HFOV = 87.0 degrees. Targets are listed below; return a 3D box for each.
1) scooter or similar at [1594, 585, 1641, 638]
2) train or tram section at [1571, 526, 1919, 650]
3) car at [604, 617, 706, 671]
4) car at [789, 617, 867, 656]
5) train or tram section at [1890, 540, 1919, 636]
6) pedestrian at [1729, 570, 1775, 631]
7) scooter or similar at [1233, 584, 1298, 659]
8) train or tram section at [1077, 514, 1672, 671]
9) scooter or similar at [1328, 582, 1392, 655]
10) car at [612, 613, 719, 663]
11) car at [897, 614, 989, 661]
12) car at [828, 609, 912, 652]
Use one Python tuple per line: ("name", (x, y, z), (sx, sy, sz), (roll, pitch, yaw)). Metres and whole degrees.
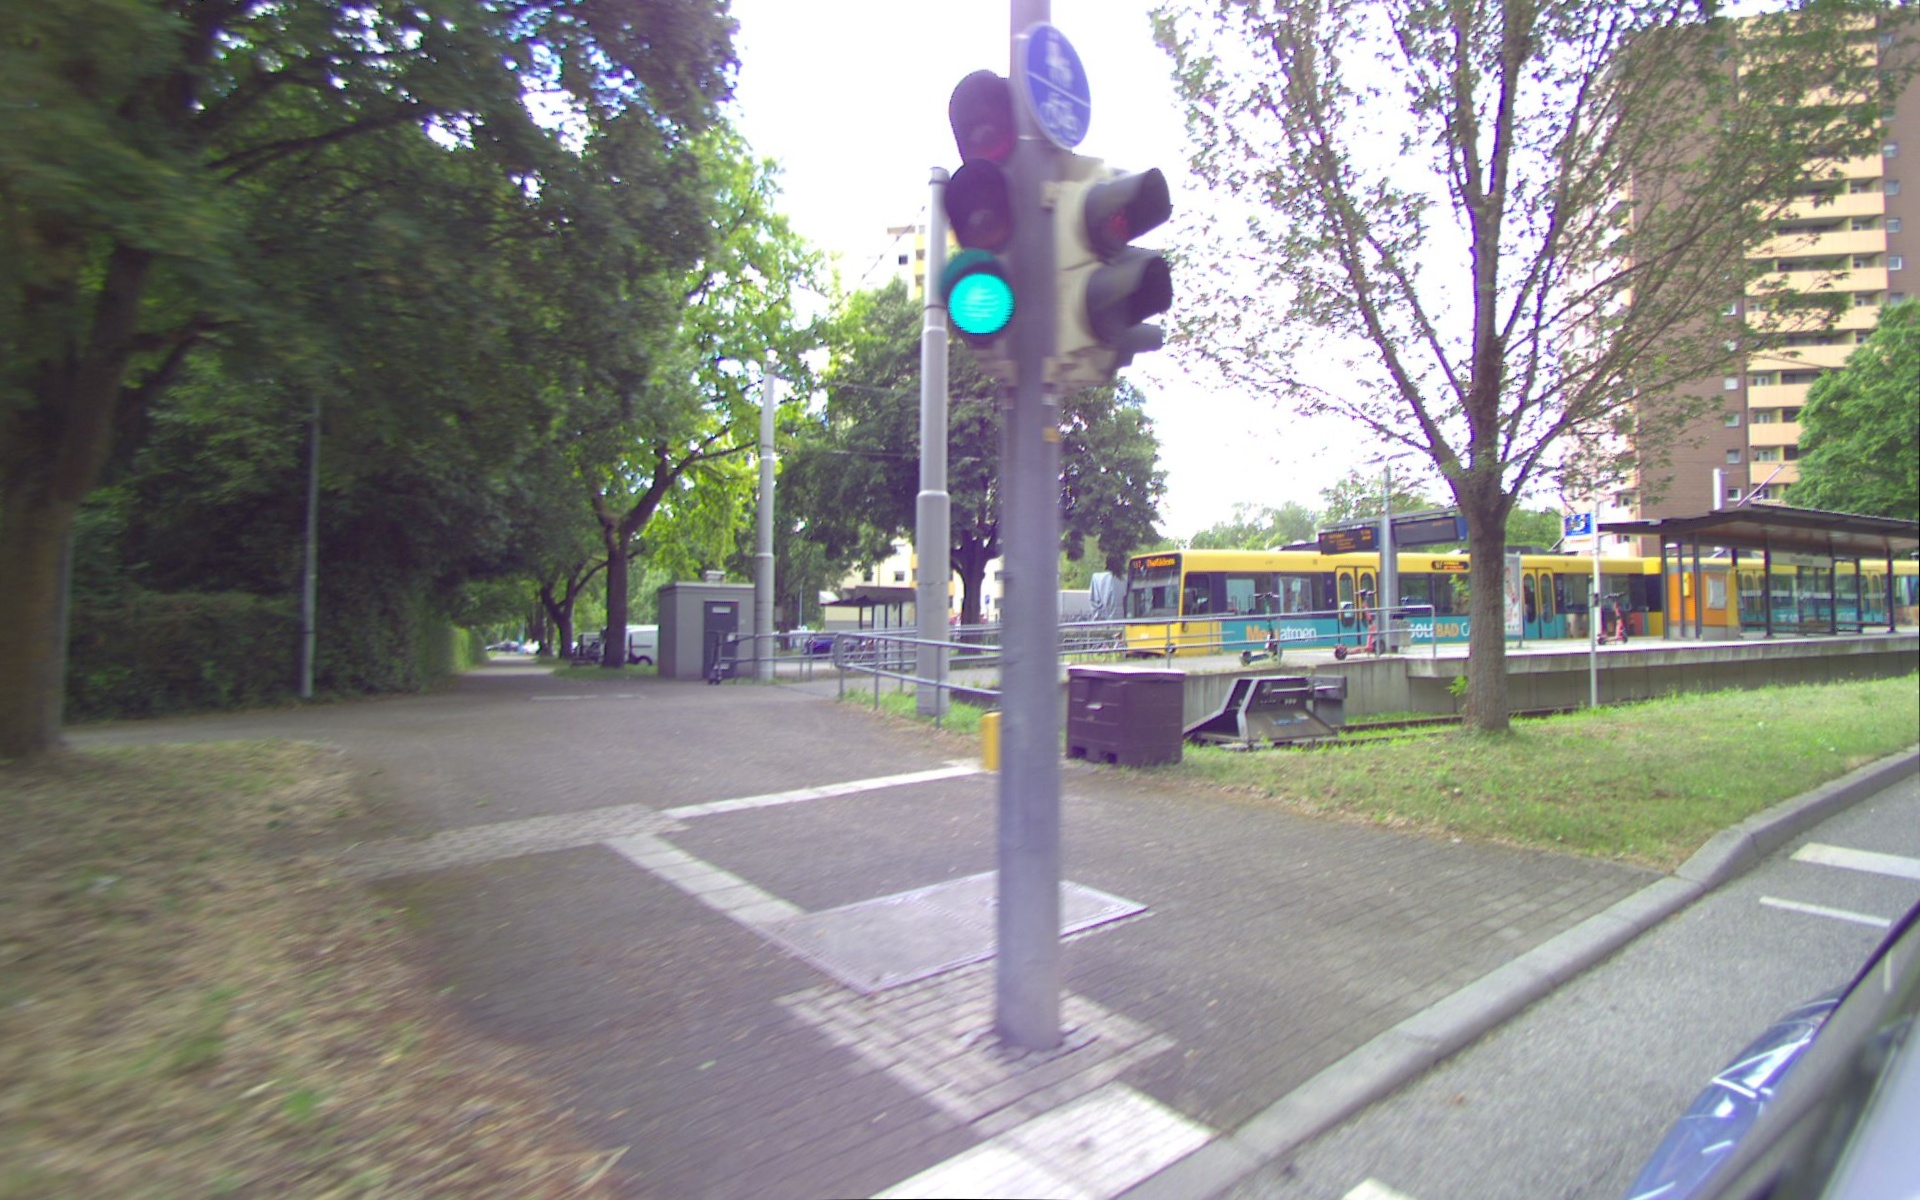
("scooter or similar", (15.967, 0.272, 24.580), (1.122, 1.258, 0.370), (0, -2, -25))
("train or tram section", (29.746, -0.423, 36.185), (19.107, 3.786, 2.826), (-1, -3, -24))
("car", (-12.879, 1.814, 42.736), (3.917, 2.039, 1.908), (-1, 0, -24))
("car", (-7.363, 1.998, 56.315), (3.917, 2.039, 1.908), (-1, 0, -24))
("train or tram section", (47.525, -0.647, 43.291), (18.535, 3.849, 2.827), (-1, -3, -19))
("pedestrian", (21.059, 0.026, 26.921), (0.651, 1.593, 0.625), (-2, -2, -7))
("scooter or similar", (5.539, 0.381, 18.326), (1.232, 1.269, 0.431), (-3, 0, -37))
("train or tram section", (12.375, -0.199, 28.440), (19.107, 3.636, 2.826), (-1, -3, -24))
("scooter or similar", (7.370, 0.332, 18.636), (1.231, 1.269, 0.431), (-3, 0, -33))
("car", (-13.233, 1.681, 45.462), (4.360, 2.039, 1.908), (-1, 0, -24))
("car", (-0.815, 1.769, 48.485), (3.917, 2.039, 1.908), (-1, 0, -24))
("car", (-4.642, 1.536, 52.185), (3.917, 2.039, 1.908), (-1, 0, -24))
